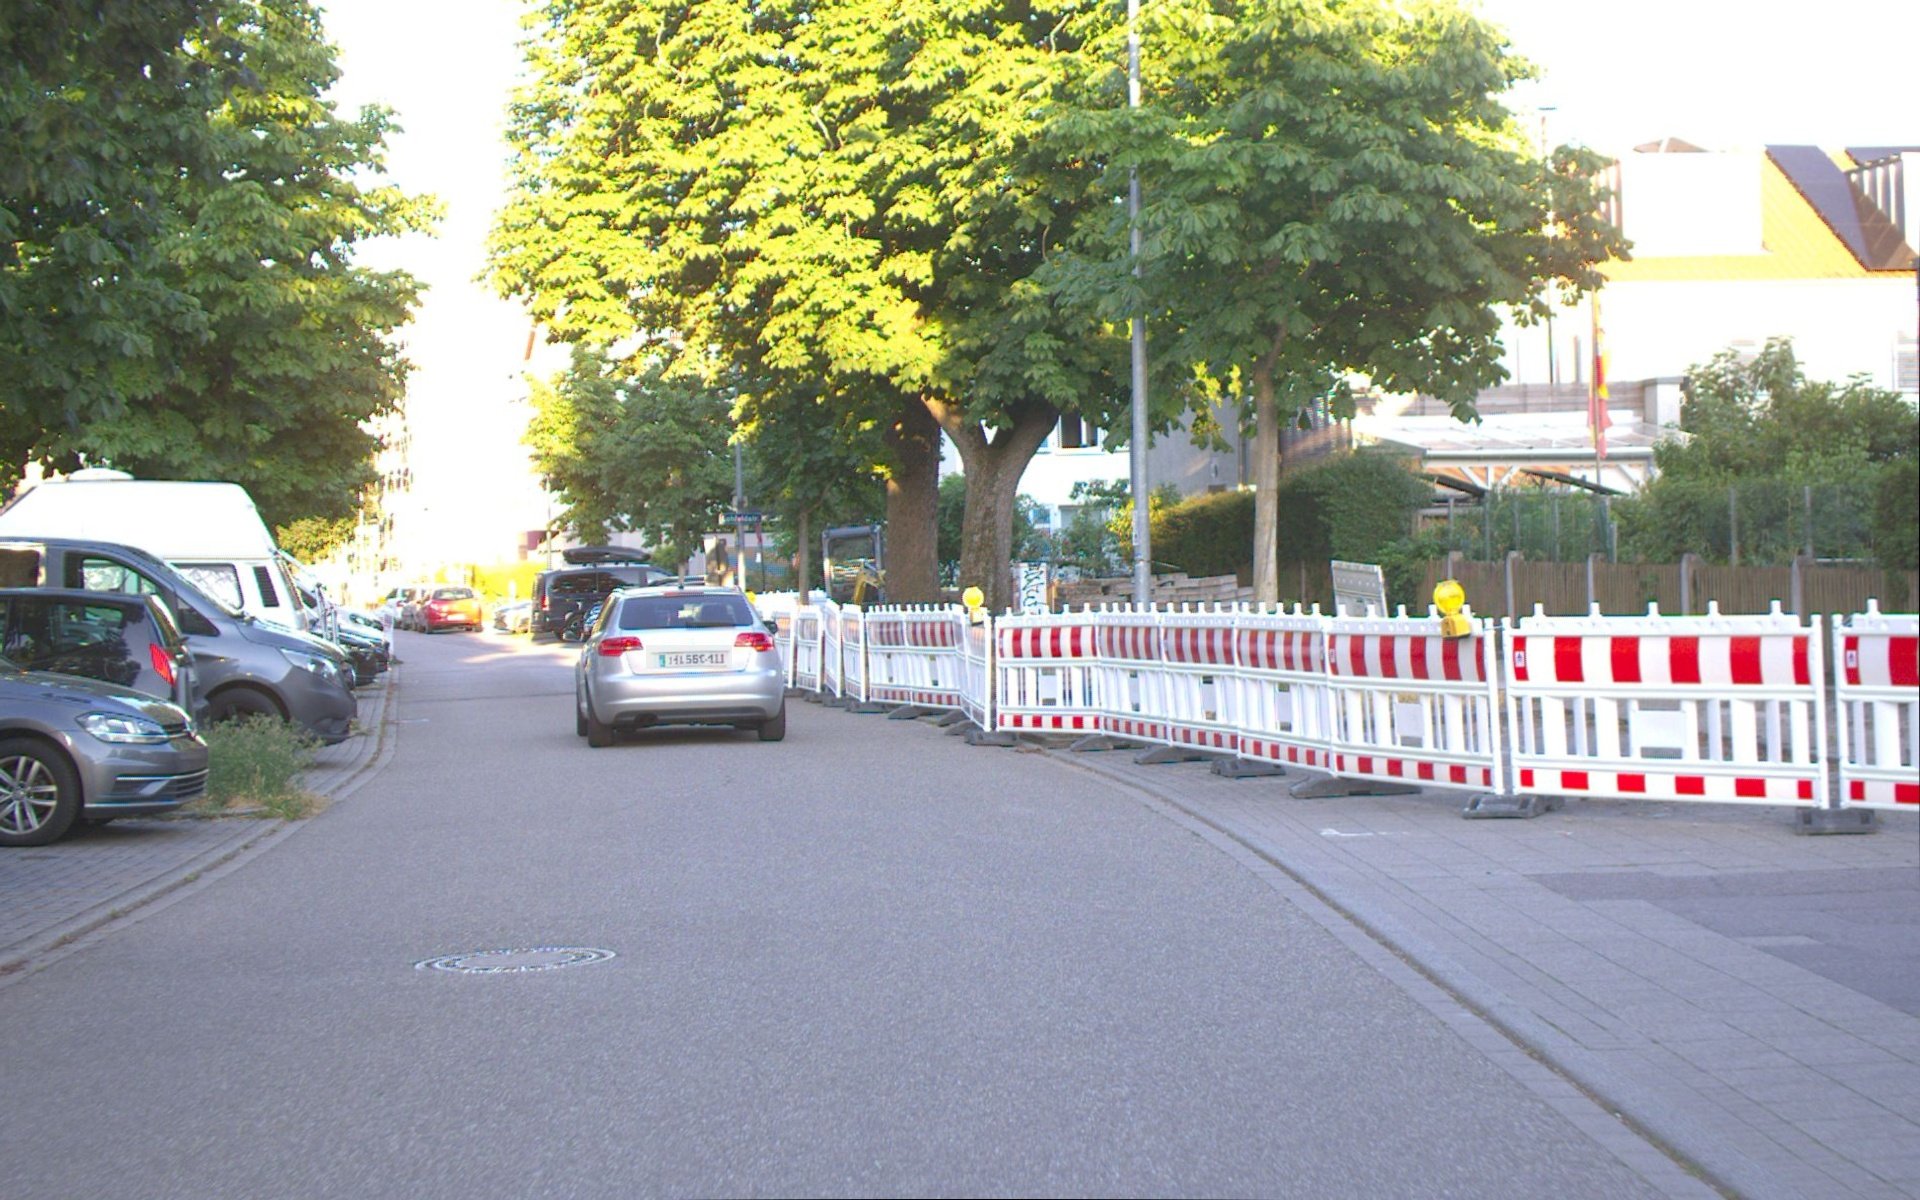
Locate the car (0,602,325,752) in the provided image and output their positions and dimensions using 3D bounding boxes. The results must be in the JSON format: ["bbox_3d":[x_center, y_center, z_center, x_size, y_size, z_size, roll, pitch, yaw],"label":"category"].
[{"bbox_3d":[-9.143,0.839,38.486,3.859,1.589,1.786,-1,1,-6],"label":"car"}]

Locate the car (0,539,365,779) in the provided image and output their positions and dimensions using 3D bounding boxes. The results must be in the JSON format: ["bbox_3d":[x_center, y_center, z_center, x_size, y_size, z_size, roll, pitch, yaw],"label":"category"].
[{"bbox_3d":[-7.262,0.461,28.011,4.672,1.867,2.000,-1,1,-8],"label":"car"}]

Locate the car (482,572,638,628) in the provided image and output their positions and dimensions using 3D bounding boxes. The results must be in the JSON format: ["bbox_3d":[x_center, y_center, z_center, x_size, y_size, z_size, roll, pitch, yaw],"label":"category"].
[{"bbox_3d":[-11.540,-0.009,99.115,4.148,1.567,1.798,-1,1,-20],"label":"car"}]

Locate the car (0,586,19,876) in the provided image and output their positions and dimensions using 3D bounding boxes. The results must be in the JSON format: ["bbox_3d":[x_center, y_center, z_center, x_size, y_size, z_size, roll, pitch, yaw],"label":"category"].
[{"bbox_3d":[-6.883,0.659,17.429,3.803,1.517,1.653,1,0,-4],"label":"car"}]

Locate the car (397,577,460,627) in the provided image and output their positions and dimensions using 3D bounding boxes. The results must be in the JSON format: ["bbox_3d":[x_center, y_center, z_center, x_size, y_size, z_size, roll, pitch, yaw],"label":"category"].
[{"bbox_3d":[-17.248,0.063,111.502,1.663,1.568,3.441,-1,1,-14],"label":"car"}]

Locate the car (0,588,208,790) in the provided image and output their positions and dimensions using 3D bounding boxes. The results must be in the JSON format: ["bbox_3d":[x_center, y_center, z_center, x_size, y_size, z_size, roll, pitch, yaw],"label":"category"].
[{"bbox_3d":[-7.532,0.632,25.253,3.768,1.434,1.656,0,0,-6],"label":"car"}]

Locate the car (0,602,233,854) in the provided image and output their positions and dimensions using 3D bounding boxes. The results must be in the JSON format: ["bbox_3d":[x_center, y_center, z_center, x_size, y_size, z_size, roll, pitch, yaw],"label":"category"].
[{"bbox_3d":[-6.508,0.713,19.968,4.243,1.389,1.684,0,0,-2],"label":"car"}]

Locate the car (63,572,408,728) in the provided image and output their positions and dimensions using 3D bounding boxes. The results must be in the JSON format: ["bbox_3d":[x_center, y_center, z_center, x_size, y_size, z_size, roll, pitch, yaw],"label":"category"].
[{"bbox_3d":[-8.628,0.572,41.190,3.859,1.771,1.844,-1,1,-6],"label":"car"}]

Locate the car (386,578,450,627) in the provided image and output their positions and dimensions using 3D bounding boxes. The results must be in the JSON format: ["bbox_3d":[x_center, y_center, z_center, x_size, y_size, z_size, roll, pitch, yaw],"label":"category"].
[{"bbox_3d":[-18.354,0.055,116.383,1.808,1.607,3.582,-1,1,-14],"label":"car"}]

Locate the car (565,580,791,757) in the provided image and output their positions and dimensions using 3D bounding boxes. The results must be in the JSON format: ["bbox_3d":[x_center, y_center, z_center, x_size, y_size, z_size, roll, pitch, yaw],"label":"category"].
[{"bbox_3d":[-2.643,0.599,31.482,1.807,1.483,4.001,-1,0,-8],"label":"car"}]

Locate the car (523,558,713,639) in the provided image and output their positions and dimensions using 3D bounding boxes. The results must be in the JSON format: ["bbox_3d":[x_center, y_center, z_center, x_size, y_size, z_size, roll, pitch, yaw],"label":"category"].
[{"bbox_3d":[-8.908,-0.052,89.386,4.555,2.016,2.102,-1,1,-18],"label":"car"}]

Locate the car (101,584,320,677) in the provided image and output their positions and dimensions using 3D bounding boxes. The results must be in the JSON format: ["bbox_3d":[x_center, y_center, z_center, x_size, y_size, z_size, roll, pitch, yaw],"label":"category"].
[{"bbox_3d":[-12.429,0.488,57.174,3.413,1.479,1.759,-1,1,-8],"label":"car"}]

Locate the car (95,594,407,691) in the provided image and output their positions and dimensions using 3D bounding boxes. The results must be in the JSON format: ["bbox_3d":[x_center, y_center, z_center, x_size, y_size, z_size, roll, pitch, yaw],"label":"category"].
[{"bbox_3d":[-11.223,0.658,54.683,4.771,1.465,1.881,-1,0,-10],"label":"car"}]

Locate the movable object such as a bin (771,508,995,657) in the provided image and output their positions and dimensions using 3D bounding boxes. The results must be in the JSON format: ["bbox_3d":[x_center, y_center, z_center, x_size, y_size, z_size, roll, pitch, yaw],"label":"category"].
[{"bbox_3d":[-1.381,-0.308,58.355,2.627,2.394,5.199,-1,1,-15],"label":"movable object such as a bin"}]

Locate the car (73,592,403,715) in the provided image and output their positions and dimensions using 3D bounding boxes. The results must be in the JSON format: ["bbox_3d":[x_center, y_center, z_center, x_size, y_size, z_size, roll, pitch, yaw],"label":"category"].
[{"bbox_3d":[-10.074,0.721,47.966,4.405,1.609,1.900,-1,1,-13],"label":"car"}]

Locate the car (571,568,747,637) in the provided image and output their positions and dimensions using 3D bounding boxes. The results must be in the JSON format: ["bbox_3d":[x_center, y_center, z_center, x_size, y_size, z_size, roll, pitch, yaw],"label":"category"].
[{"bbox_3d":[-7.419,0.049,84.714,3.986,1.645,1.765,-1,1,-20],"label":"car"}]

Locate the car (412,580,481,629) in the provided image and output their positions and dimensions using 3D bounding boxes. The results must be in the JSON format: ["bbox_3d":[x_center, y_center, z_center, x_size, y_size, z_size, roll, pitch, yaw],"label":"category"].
[{"bbox_3d":[-15.887,0.125,106.277,1.729,1.478,3.558,-1,1,-14],"label":"car"}]

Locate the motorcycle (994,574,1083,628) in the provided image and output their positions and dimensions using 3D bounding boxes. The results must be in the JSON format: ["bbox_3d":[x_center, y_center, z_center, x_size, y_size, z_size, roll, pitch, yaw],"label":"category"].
[{"bbox_3d":[1.640,0.015,71.755,1.841,1.102,0.581,-1,1,-34],"label":"motorcycle"}]

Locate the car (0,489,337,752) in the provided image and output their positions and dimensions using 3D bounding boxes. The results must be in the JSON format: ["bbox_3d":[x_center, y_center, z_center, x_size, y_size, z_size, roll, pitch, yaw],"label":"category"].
[{"bbox_3d":[-8.324,0.181,32.984,4.501,2.422,2.000,-1,1,-7],"label":"car"}]

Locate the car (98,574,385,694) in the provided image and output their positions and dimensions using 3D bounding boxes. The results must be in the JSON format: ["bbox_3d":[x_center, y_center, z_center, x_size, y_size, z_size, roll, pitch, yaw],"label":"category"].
[{"bbox_3d":[-12.427,0.565,59.686,4.771,2.007,2.001,-1,1,-10],"label":"car"}]
